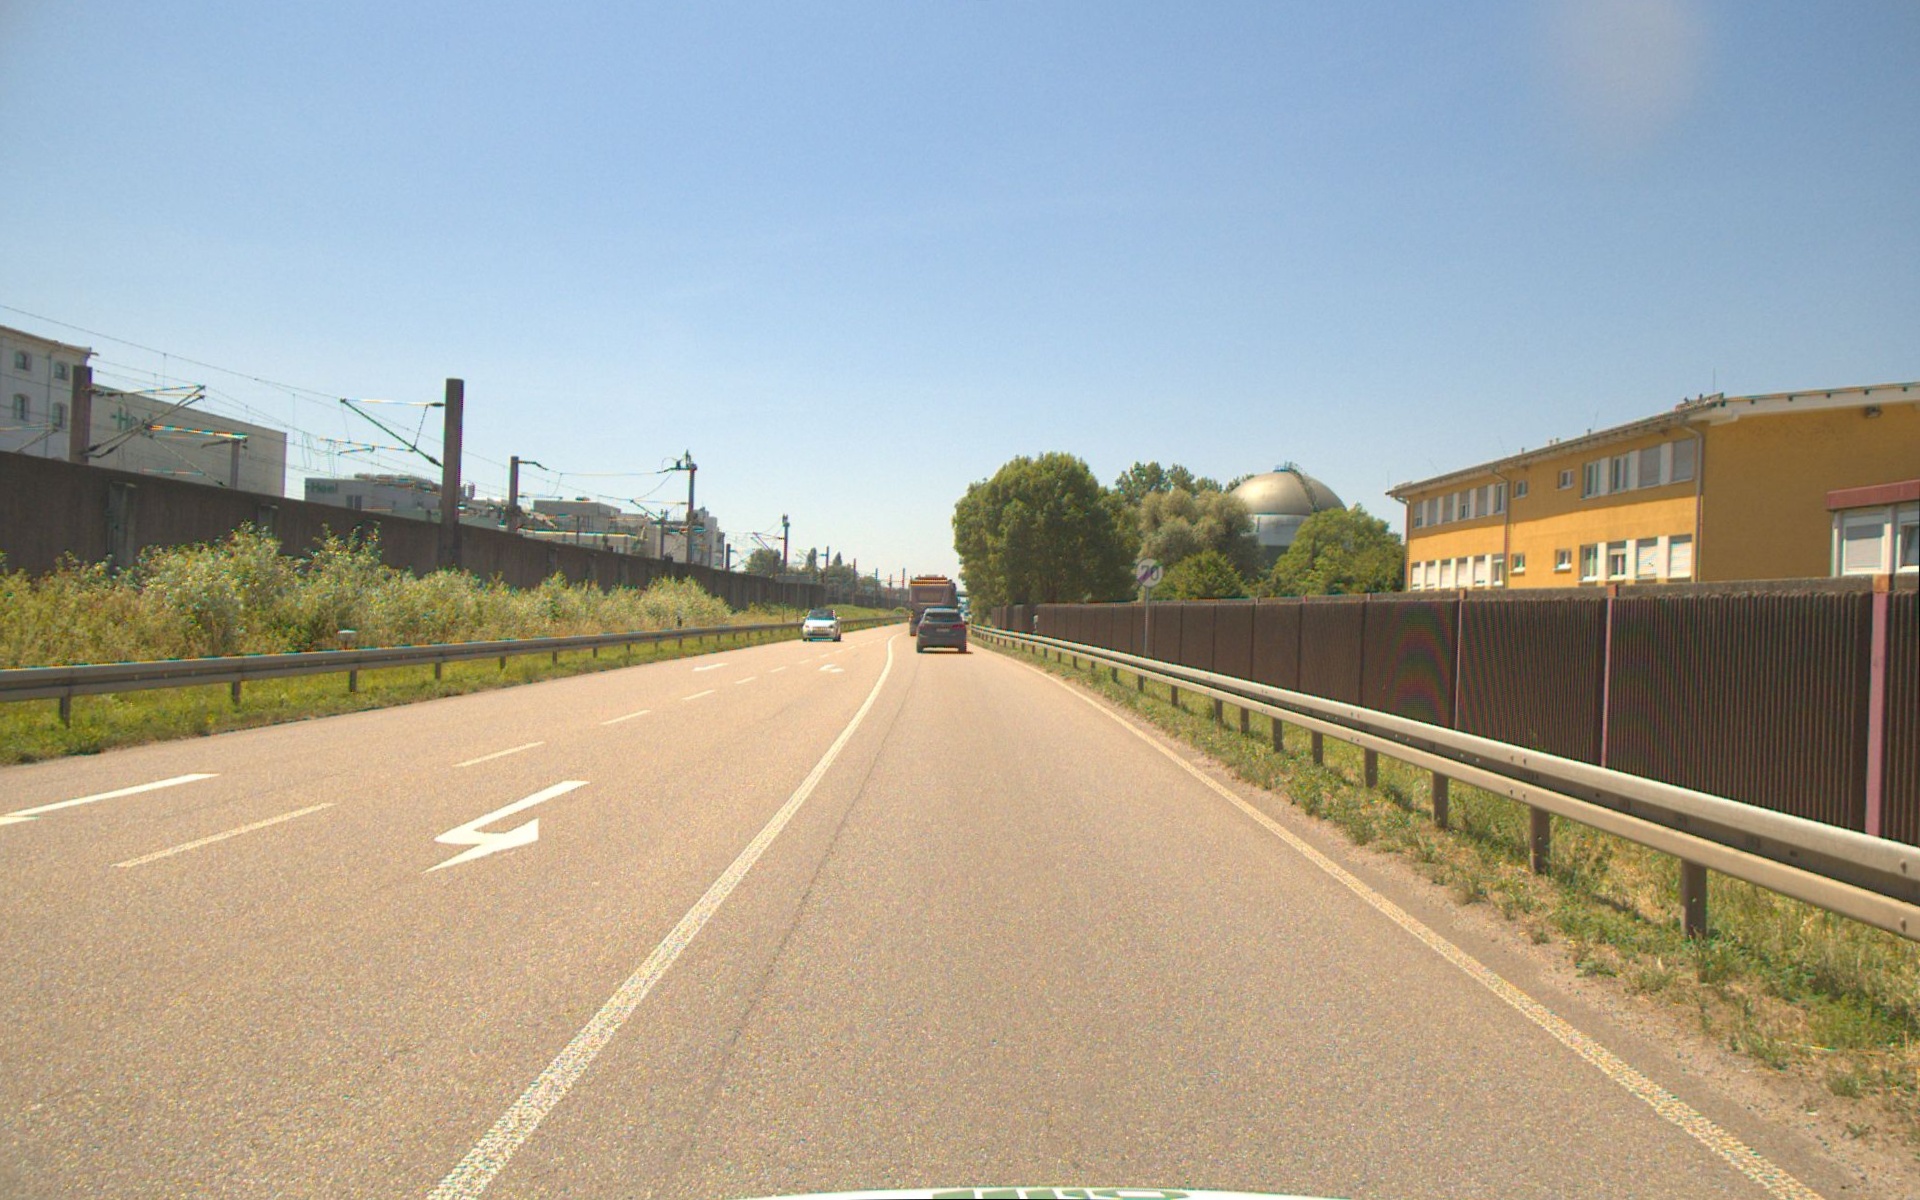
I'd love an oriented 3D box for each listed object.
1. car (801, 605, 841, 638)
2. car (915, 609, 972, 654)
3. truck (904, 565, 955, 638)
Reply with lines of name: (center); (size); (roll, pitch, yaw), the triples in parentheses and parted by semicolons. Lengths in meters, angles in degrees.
car: (-6.523, 1.000, 77.980); (1.638, 1.528, 3.721); (1, 0, -1)
car: (-0.597, 1.169, 59.956); (1.953, 1.529, 3.999); (2, -2, 0)
truck: (-1.935, 0.226, 102.702); (2.935, 4.254, 11.802); (1, -1, -2)
